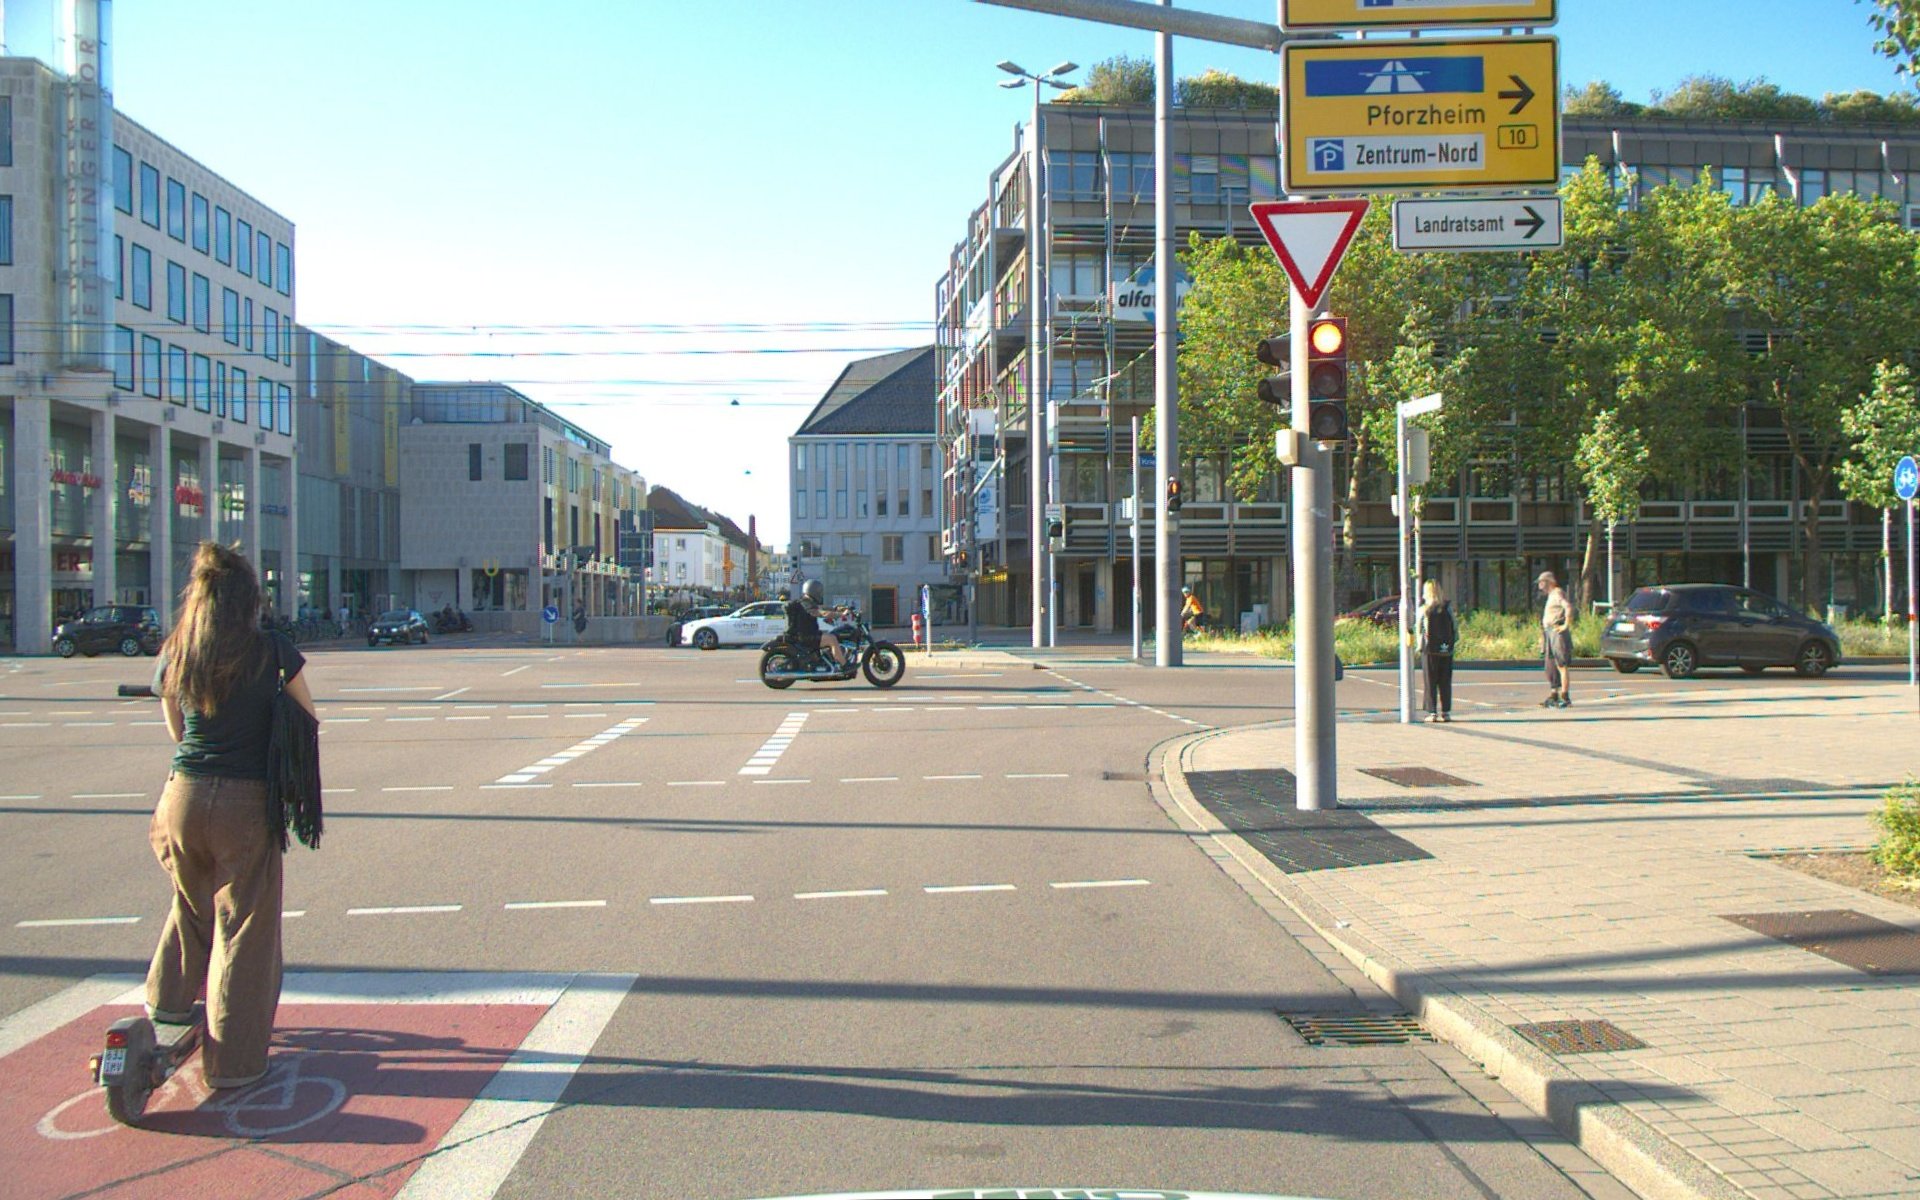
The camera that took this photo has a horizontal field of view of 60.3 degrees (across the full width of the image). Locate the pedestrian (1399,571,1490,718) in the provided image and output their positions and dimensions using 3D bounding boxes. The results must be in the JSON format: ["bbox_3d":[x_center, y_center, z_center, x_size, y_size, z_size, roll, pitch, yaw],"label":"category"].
[{"bbox_3d":[5.559,0.498,19.018,0.750,1.642,0.874,-1,0,-2],"label":"pedestrian"}]

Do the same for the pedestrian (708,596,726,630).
[{"bbox_3d":[-13.078,0.700,89.078,0.881,1.814,0.808,0,0,-1],"label":"pedestrian"}]

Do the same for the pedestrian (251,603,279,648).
[{"bbox_3d":[-26.298,0.968,62.596,0.760,1.667,0.626,-1,0,5],"label":"pedestrian"}]

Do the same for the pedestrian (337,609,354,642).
[{"bbox_3d":[-33.232,1.372,89.458,0.462,1.759,0.692,0,-1,37],"label":"pedestrian"}]

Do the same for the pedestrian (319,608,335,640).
[{"bbox_3d":[-35.052,1.324,91.602,0.461,1.759,0.627,1,-1,28],"label":"pedestrian"}]

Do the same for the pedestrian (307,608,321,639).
[{"bbox_3d":[-35.738,1.284,91.496,0.462,1.712,0.518,0,-1,38],"label":"pedestrian"}]

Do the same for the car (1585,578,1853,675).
[{"bbox_3d":[12.677,0.417,27.728,3.788,1.536,1.669,-1,0,-8],"label":"car"}]

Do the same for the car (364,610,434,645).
[{"bbox_3d":[-23.509,1.125,69.446,1.642,1.381,4.019,-1,0,-2],"label":"car"}]

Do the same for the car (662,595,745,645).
[{"bbox_3d":[-9.203,0.695,59.111,1.798,1.713,3.965,-1,0,-27],"label":"car"}]

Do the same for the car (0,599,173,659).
[{"bbox_3d":[-26.089,0.841,49.356,4.317,1.713,1.824,-1,0,-4],"label":"car"}]

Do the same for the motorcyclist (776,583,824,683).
[{"bbox_3d":[-2.377,0.481,24.486,0.645,1.448,0.646,-1,1,-11],"label":"motorcyclist"}]

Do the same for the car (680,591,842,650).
[{"bbox_3d":[-6.068,0.610,50.752,4.746,1.713,1.825,-1,0,-1],"label":"car"}]

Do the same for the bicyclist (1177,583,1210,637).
[{"bbox_3d":[6.674,0.279,47.217,0.806,1.500,0.652,-1,0,-5],"label":"bicyclist"}]

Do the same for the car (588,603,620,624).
[{"bbox_3d":[-26.031,0.995,121.055,1.625,1.484,3.541,-1,0,-1],"label":"car"}]

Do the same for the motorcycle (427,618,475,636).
[{"bbox_3d":[-30.070,1.568,97.743,2.555,1.010,1.113,1,0,-10],"label":"motorcycle"}]

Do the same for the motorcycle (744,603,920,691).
[{"bbox_3d":[-1.905,0.681,24.568,2.548,1.229,0.728,-1,1,-11],"label":"motorcycle"}]

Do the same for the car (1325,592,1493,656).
[{"bbox_3d":[12.638,0.645,46.650,4.212,1.713,1.820,-1,0,-11],"label":"car"}]

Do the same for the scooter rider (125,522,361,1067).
[{"bbox_3d":[-2.147,0.553,4.994,0.542,1.556,0.448,-1,0,-9],"label":"scooter rider"}]

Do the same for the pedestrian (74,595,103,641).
[{"bbox_3d":[-35.668,0.732,67.684,0.923,1.897,0.539,-1,0,16],"label":"pedestrian"}]

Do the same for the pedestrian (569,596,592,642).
[{"bbox_3d":[-14.418,0.730,62.843,0.685,1.718,0.619,-1,0,0],"label":"pedestrian"}]

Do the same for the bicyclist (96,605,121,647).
[{"bbox_3d":[-30.051,0.921,58.377,0.616,1.473,0.586,-1,0,38],"label":"bicyclist"}]

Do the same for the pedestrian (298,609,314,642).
[{"bbox_3d":[-35.038,1.352,88.601,0.462,1.759,0.626,1,-1,33],"label":"pedestrian"}]

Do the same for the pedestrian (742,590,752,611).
[{"bbox_3d":[-21.150,0.055,164.357,0.892,1.999,0.822,1,-1,-1],"label":"pedestrian"}]

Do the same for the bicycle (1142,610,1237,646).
[{"bbox_3d":[6.531,0.797,47.197,2.517,0.992,1.047,-1,0,-4],"label":"bicycle"}]

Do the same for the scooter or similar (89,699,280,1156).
[{"bbox_3d":[-2.194,0.877,4.734,0.301,1.127,0.836,-1,0,-12],"label":"scooter or similar"}]

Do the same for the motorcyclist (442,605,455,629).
[{"bbox_3d":[-30.274,1.017,97.891,0.616,1.430,0.661,1,-1,-9],"label":"motorcyclist"}]

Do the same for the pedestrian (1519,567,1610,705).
[{"bbox_3d":[7.751,0.450,21.232,0.854,1.736,0.768,-1,0,-3],"label":"pedestrian"}]

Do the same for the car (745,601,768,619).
[{"bbox_3d":[-17.961,0.854,145.752,1.625,1.484,3.541,-1,0,-1],"label":"car"}]
